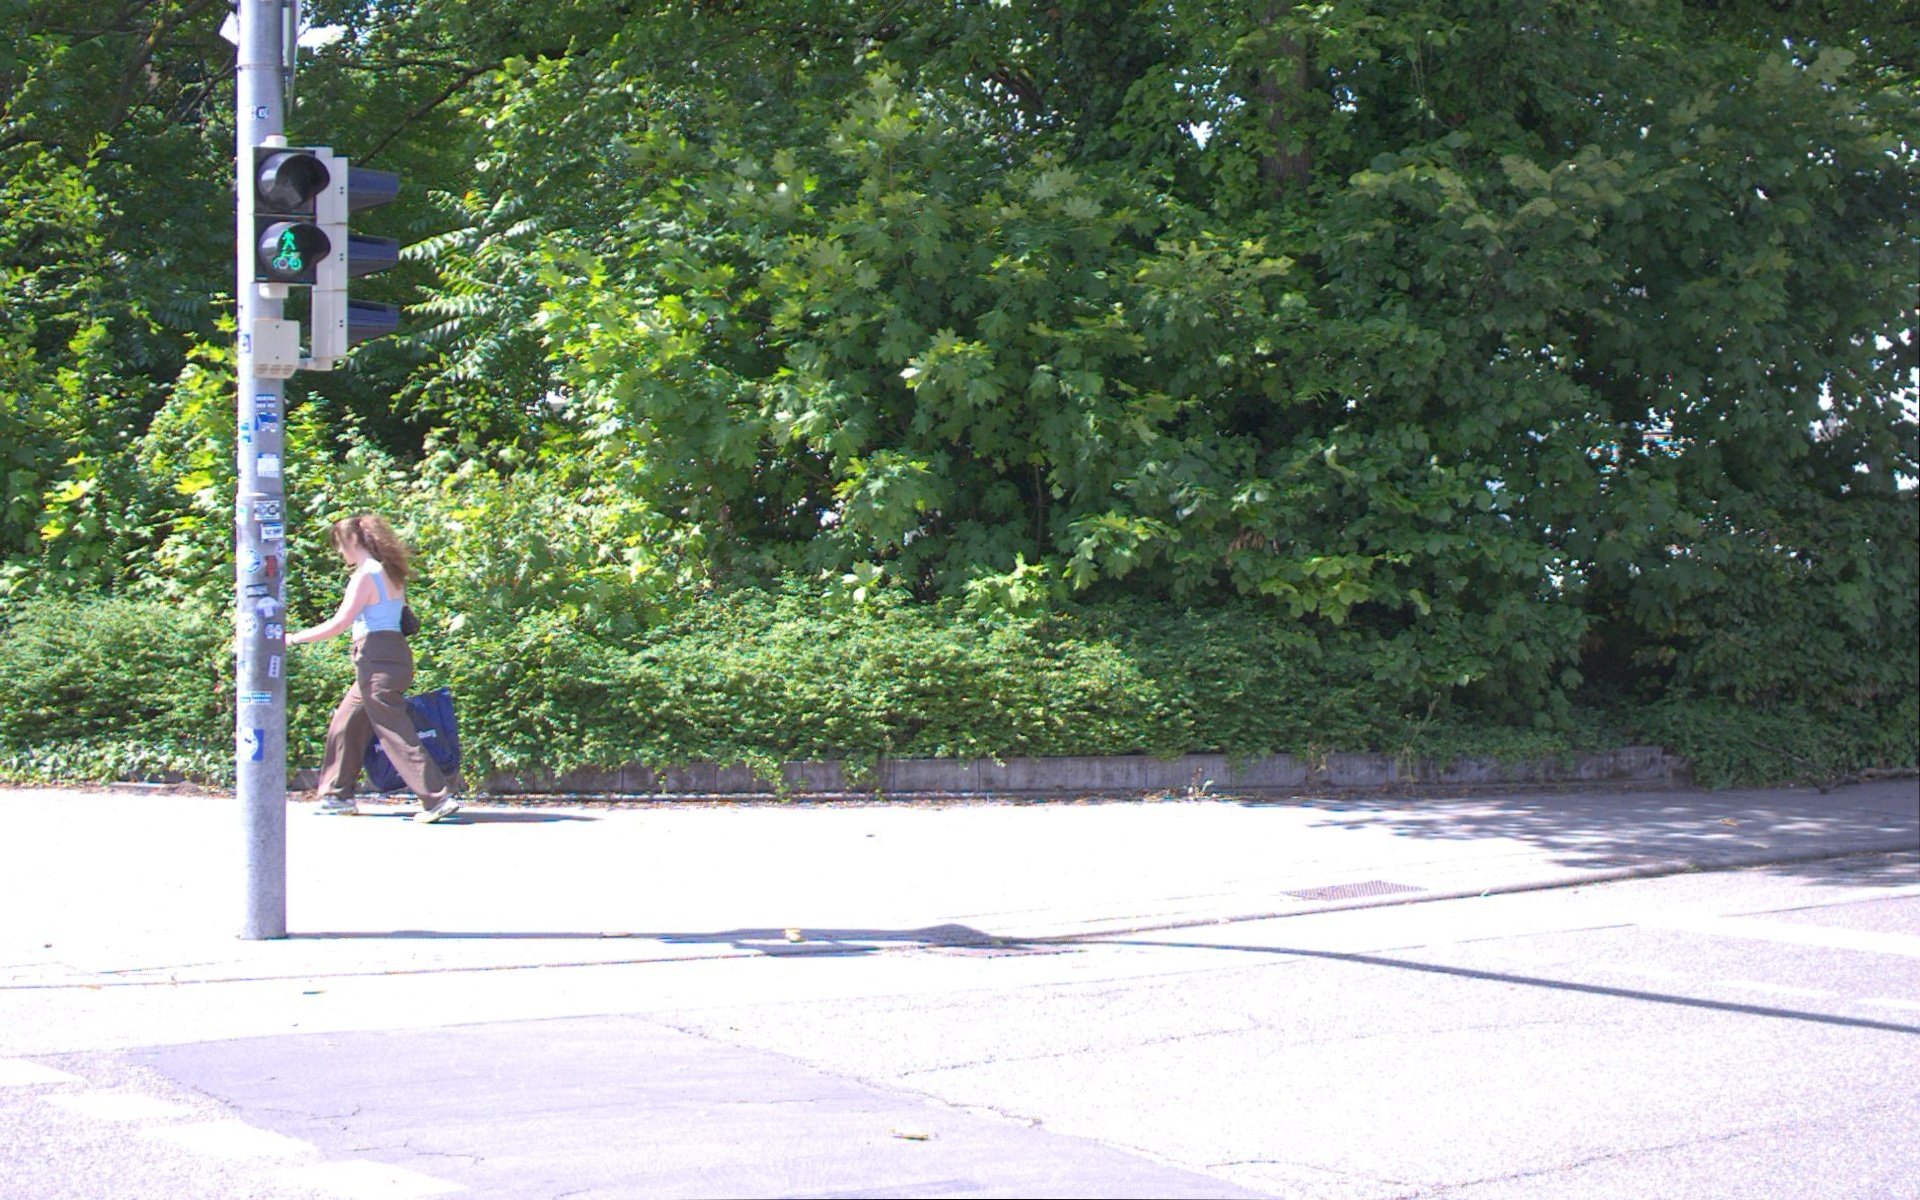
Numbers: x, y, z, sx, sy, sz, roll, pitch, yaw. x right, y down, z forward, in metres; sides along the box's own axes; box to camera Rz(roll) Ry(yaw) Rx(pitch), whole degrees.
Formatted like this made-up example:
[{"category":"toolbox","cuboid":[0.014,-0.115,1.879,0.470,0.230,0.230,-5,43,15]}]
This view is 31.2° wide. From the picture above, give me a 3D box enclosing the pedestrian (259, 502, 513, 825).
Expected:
[{"category":"pedestrian","cuboid":[-3.016,0.309,18.119,1.018,1.620,0.856,2,3,24]}]
